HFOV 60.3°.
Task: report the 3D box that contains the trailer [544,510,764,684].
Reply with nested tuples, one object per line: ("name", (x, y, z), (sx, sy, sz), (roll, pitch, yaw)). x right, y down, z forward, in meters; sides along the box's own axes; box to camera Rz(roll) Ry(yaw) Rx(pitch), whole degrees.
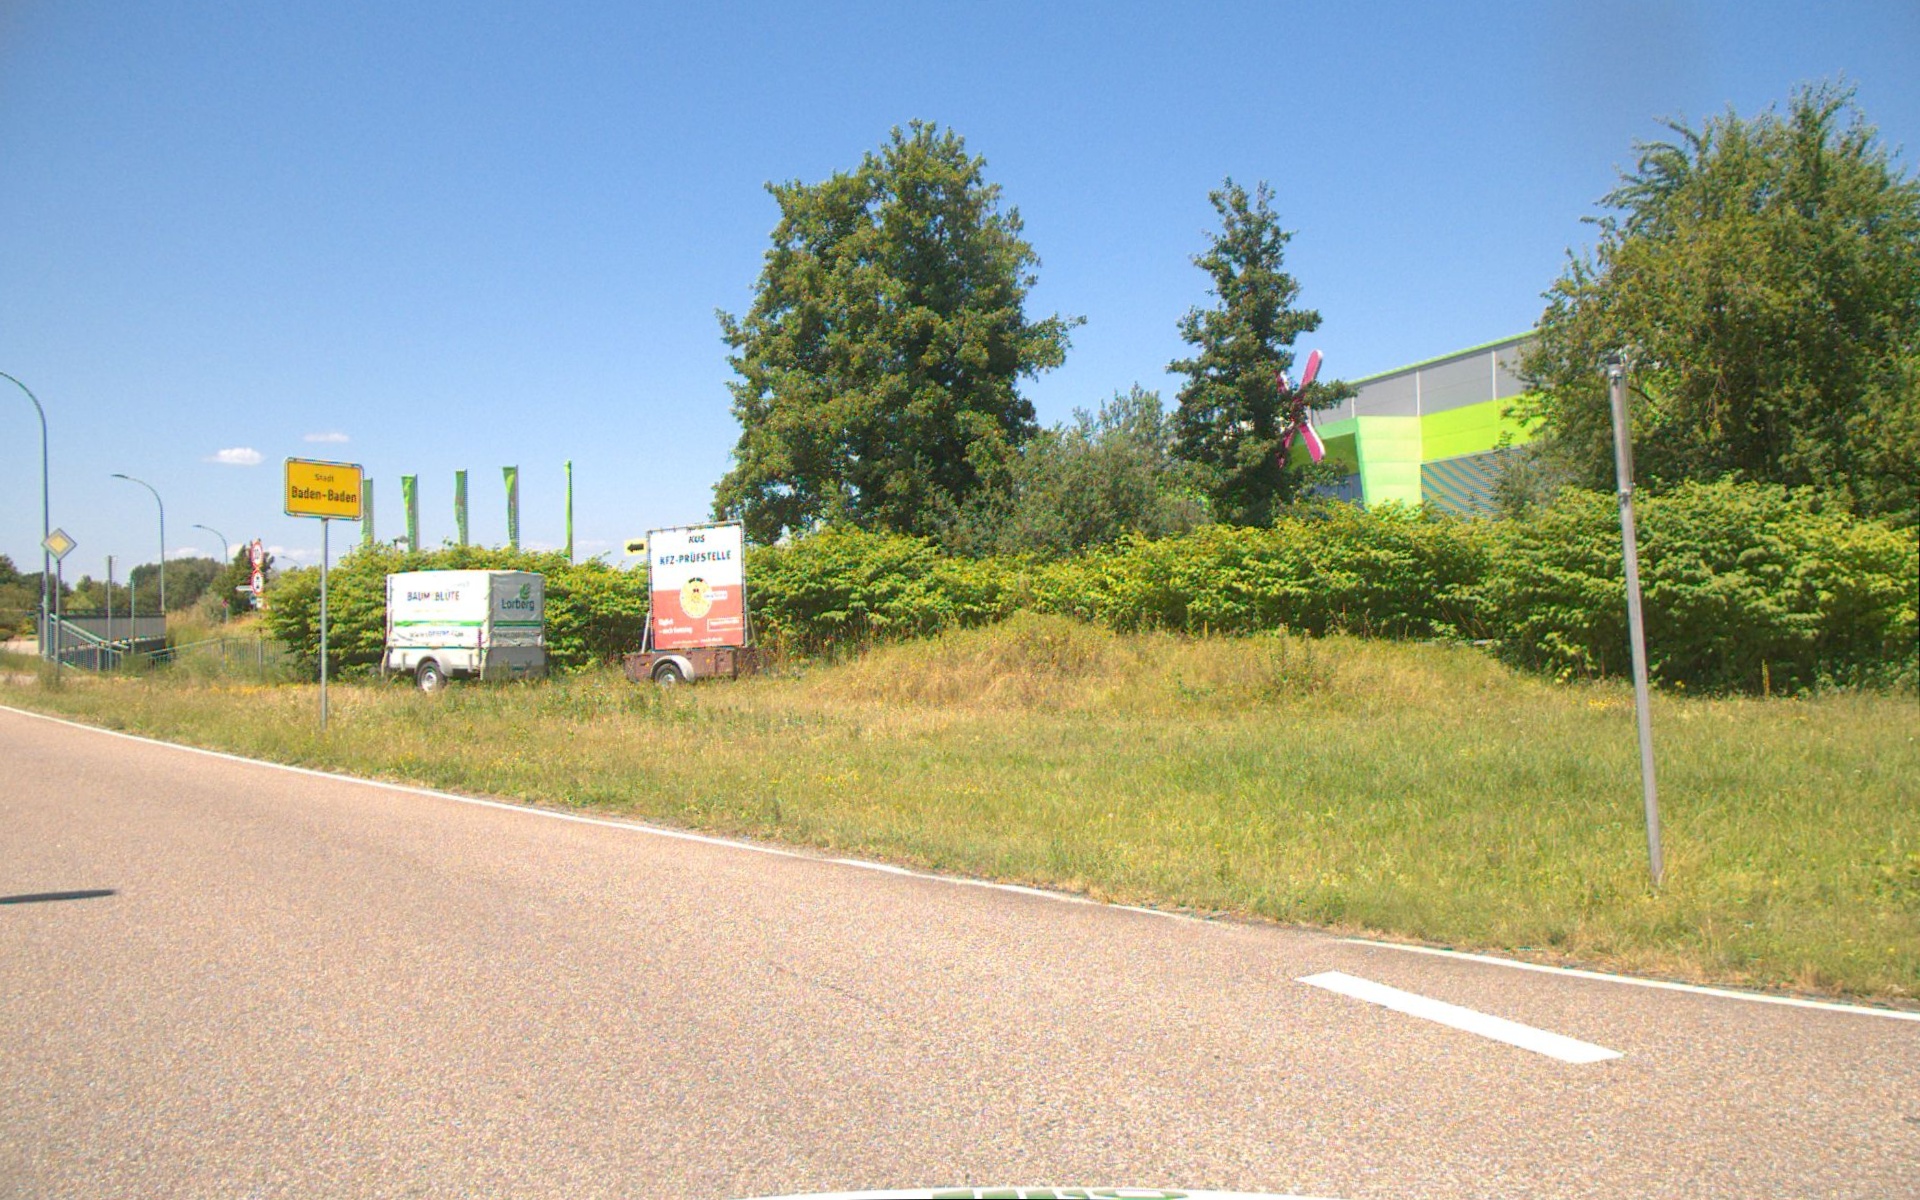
("trailer", (-5.079, -0.021, 27.481), (3.077, 2.717, 1.849), (-2, -1, 29))

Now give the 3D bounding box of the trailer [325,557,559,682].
("trailer", (-9.351, 0.379, 29.831), (3.881, 2.114, 1.849), (-2, -1, 29))
